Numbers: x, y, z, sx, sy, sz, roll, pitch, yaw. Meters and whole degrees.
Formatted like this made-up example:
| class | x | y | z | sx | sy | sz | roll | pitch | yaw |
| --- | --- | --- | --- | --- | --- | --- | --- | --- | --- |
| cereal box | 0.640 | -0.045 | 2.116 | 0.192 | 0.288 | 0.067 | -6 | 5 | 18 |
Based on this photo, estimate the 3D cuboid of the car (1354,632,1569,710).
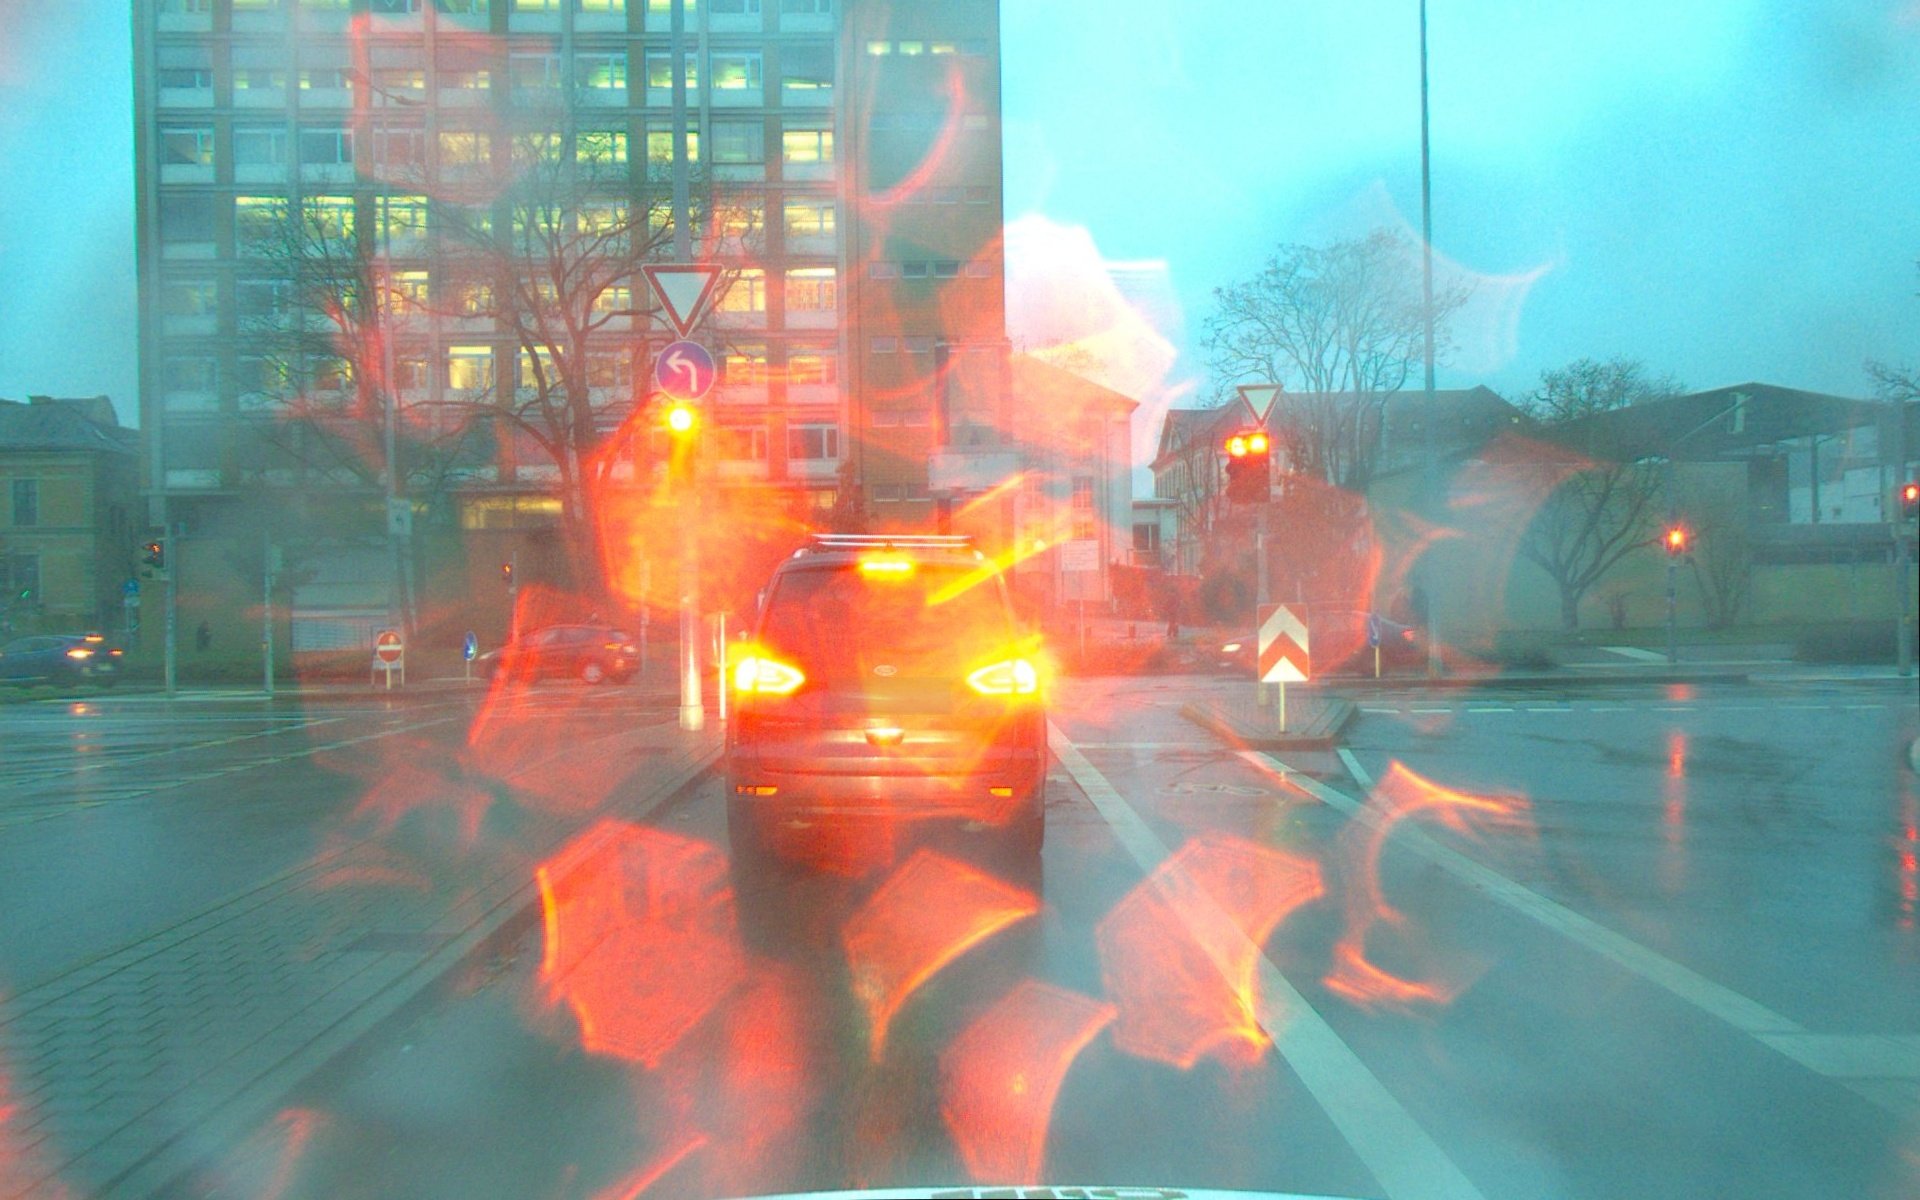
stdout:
| class | x | y | z | sx | sy | sz | roll | pitch | yaw |
| --- | --- | --- | --- | --- | --- | --- | --- | --- | --- |
| car | 10.831 | 1.523 | 36.056 | 4.338 | 1.608 | 1.969 | 0 | -2 | 12 |

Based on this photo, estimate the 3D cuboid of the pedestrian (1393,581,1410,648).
| class | x | y | z | sx | sy | sz | roll | pitch | yaw |
| --- | --- | --- | --- | --- | --- | --- | --- | --- | --- |
| pedestrian | 12.261 | 0.404 | 45.937 | 0.428 | 1.871 | 0.460 | 0 | -2 | 17 |

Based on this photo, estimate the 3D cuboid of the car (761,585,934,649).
| class | x | y | z | sx | sy | sz | roll | pitch | yaw |
| --- | --- | --- | --- | --- | --- | --- | --- | --- | --- |
| car | -3.680 | 0.579 | 54.723 | 5.429 | 2.060 | 2.001 | 0 | -2 | 5 |

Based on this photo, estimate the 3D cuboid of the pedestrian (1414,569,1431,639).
| class | x | y | z | sx | sy | sz | roll | pitch | yaw |
| --- | --- | --- | --- | --- | --- | --- | --- | --- | --- |
| pedestrian | 12.558 | 0.118 | 44.926 | 0.448 | 1.871 | 0.439 | 0 | -2 | 16 |

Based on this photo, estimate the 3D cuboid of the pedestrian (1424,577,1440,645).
| class | x | y | z | sx | sy | sz | roll | pitch | yaw |
| --- | --- | --- | --- | --- | --- | --- | --- | --- | --- |
| pedestrian | 13.072 | 0.303 | 45.811 | 0.428 | 1.871 | 0.460 | 0 | -2 | 17 |

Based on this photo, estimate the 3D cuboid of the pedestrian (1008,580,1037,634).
| class | x | y | z | sx | sy | sz | roll | pitch | yaw |
| --- | --- | --- | --- | --- | --- | --- | --- | --- | --- |
| pedestrian | 1.959 | 0.223 | 52.137 | 0.676 | 1.690 | 0.671 | 1 | -2 | -27 |

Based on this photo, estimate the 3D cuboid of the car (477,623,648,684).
| class | x | y | z | sx | sy | sz | roll | pitch | yaw |
| --- | --- | --- | --- | --- | --- | --- | --- | --- | --- |
| car | -9.610 | 1.296 | 40.073 | 3.708 | 1.423 | 1.566 | 0 | -2 | 11 |

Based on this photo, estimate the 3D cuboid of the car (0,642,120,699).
| class | x | y | z | sx | sy | sz | roll | pitch | yaw |
| --- | --- | --- | --- | --- | --- | --- | --- | --- | --- |
| car | -24.067 | 1.853 | 43.483 | 3.338 | 1.423 | 1.470 | 0 | -4 | 14 |

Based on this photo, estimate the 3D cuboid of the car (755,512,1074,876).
| class | x | y | z | sx | sy | sz | roll | pitch | yaw |
| --- | --- | --- | --- | --- | --- | --- | --- | --- | --- |
| car | -0.266 | 0.467 | 10.453 | 1.613 | 1.850 | 3.999 | 0 | 0 | -1 |
